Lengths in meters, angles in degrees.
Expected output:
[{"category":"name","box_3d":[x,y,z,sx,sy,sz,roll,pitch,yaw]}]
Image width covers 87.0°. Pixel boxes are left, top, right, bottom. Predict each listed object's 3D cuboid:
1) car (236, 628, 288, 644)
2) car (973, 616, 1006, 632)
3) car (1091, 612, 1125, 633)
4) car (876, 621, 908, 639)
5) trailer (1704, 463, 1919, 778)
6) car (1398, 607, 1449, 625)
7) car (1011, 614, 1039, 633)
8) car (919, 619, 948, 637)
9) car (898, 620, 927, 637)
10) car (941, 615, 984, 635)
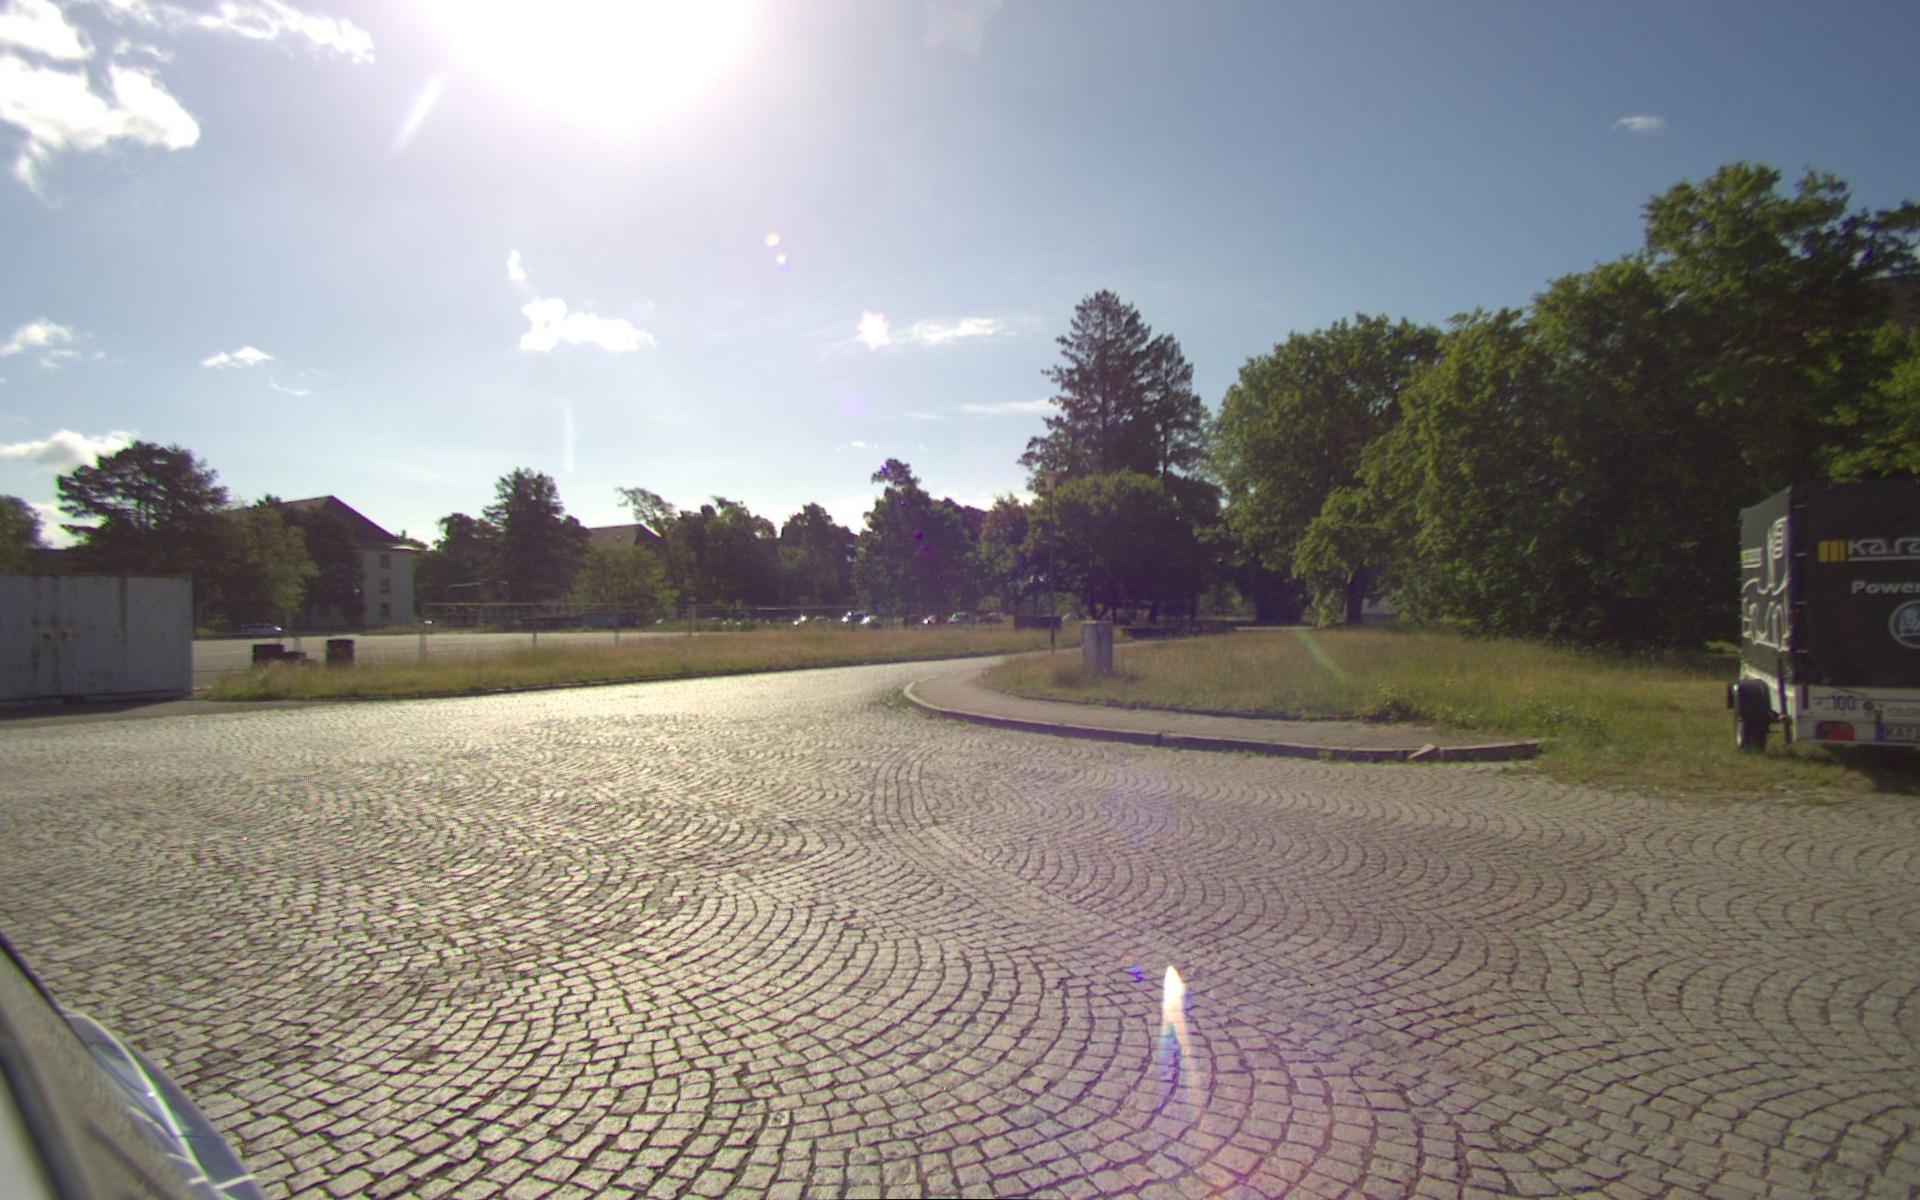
[{"category":"car","box_3d":[-72.106,3.699,104.592,1.990,1.594,3.963,-1,-1,27]},{"category":"car","box_3d":[3.325,2.711,113.941,1.993,1.664,3.958,-1,-1,31]},{"category":"car","box_3d":[15.464,2.340,105.746,2.237,2.029,4.308,-1,-1,28]},{"category":"car","box_3d":[-8.222,3.625,122.333,1.992,2.029,3.959,-2,-1,30]},{"category":"trailer","box_3d":[8.400,0.165,9.306,2.130,2.315,4.619,-2,-1,32]},{"category":"car","box_3d":[67.529,2.373,147.402,6.431,2.485,2.436,-1,-1,33]},{"category":"car","box_3d":[7.252,2.586,112.511,1.736,2.029,3.582,-1,-1,31]},{"category":"car","box_3d":[-3.070,3.195,117.895,1.736,2.029,3.582,-1,-1,31]},{"category":"car","box_3d":[-5.602,3.344,119.104,1.736,2.029,3.582,-1,-1,31]},{"category":"car","box_3d":[0.311,2.829,116.248,1.993,2.029,5.970,-3,-1,32]}]
